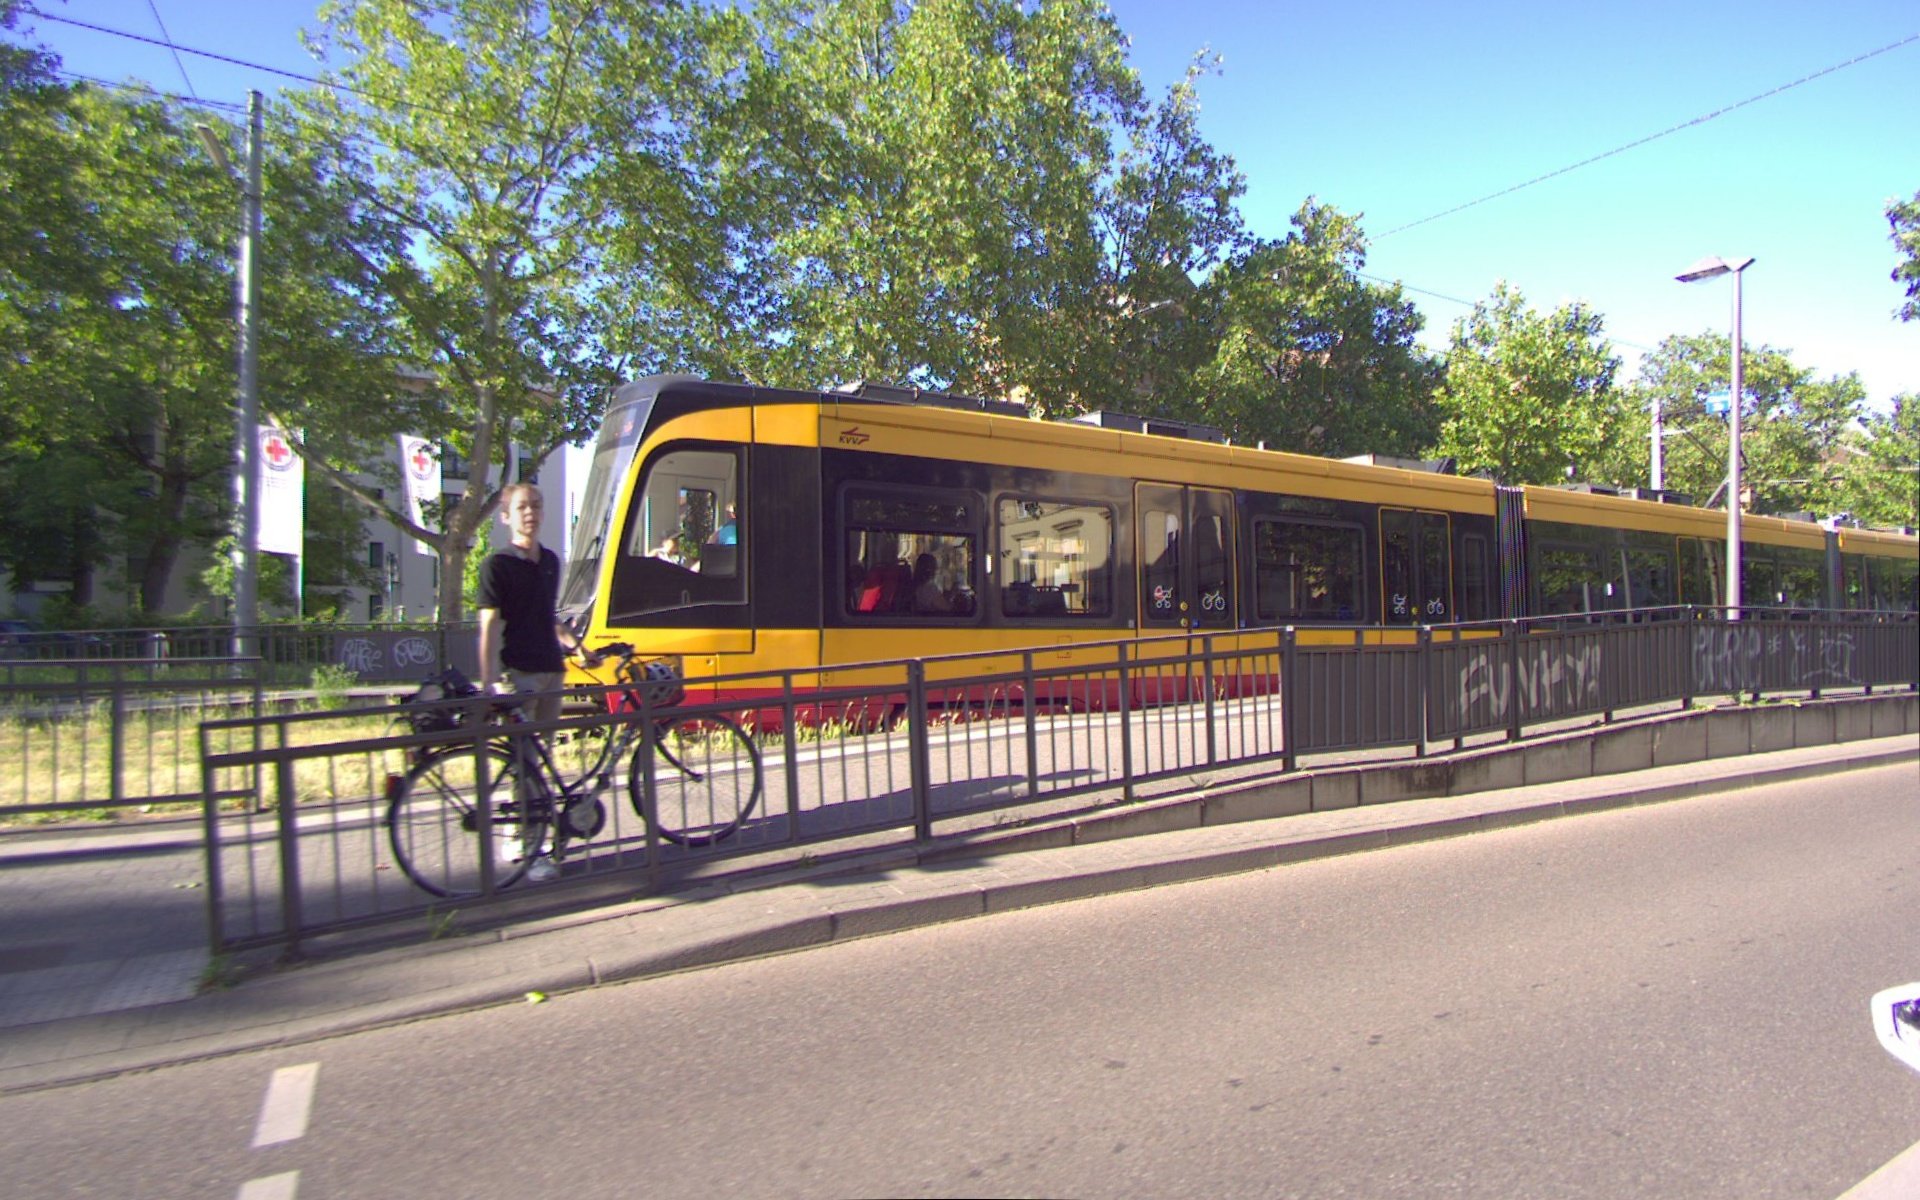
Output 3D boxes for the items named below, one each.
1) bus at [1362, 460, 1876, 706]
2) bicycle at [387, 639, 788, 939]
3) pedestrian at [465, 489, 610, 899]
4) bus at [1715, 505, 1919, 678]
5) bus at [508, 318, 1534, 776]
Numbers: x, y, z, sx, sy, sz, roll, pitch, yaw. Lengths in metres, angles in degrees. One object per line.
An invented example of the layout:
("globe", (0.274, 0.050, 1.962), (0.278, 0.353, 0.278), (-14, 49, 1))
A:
("bus", (12.609, -0.163, 18.519), (12.069, 3.490, 2.856), (1, -1, -30))
("bicycle", (-1.734, 0.820, 4.898), (1.811, 1.230, 0.326), (1, -1, -36))
("pedestrian", (-2.138, 0.446, 5.086), (0.579, 1.928, 0.447), (1, -1, -37))
("bus", (22.781, -0.105, 24.408), (11.472, 3.490, 2.856), (1, -1, -30))
("bus", (1.782, -0.327, 12.174), (13.059, 3.490, 2.856), (1, -1, -30))
